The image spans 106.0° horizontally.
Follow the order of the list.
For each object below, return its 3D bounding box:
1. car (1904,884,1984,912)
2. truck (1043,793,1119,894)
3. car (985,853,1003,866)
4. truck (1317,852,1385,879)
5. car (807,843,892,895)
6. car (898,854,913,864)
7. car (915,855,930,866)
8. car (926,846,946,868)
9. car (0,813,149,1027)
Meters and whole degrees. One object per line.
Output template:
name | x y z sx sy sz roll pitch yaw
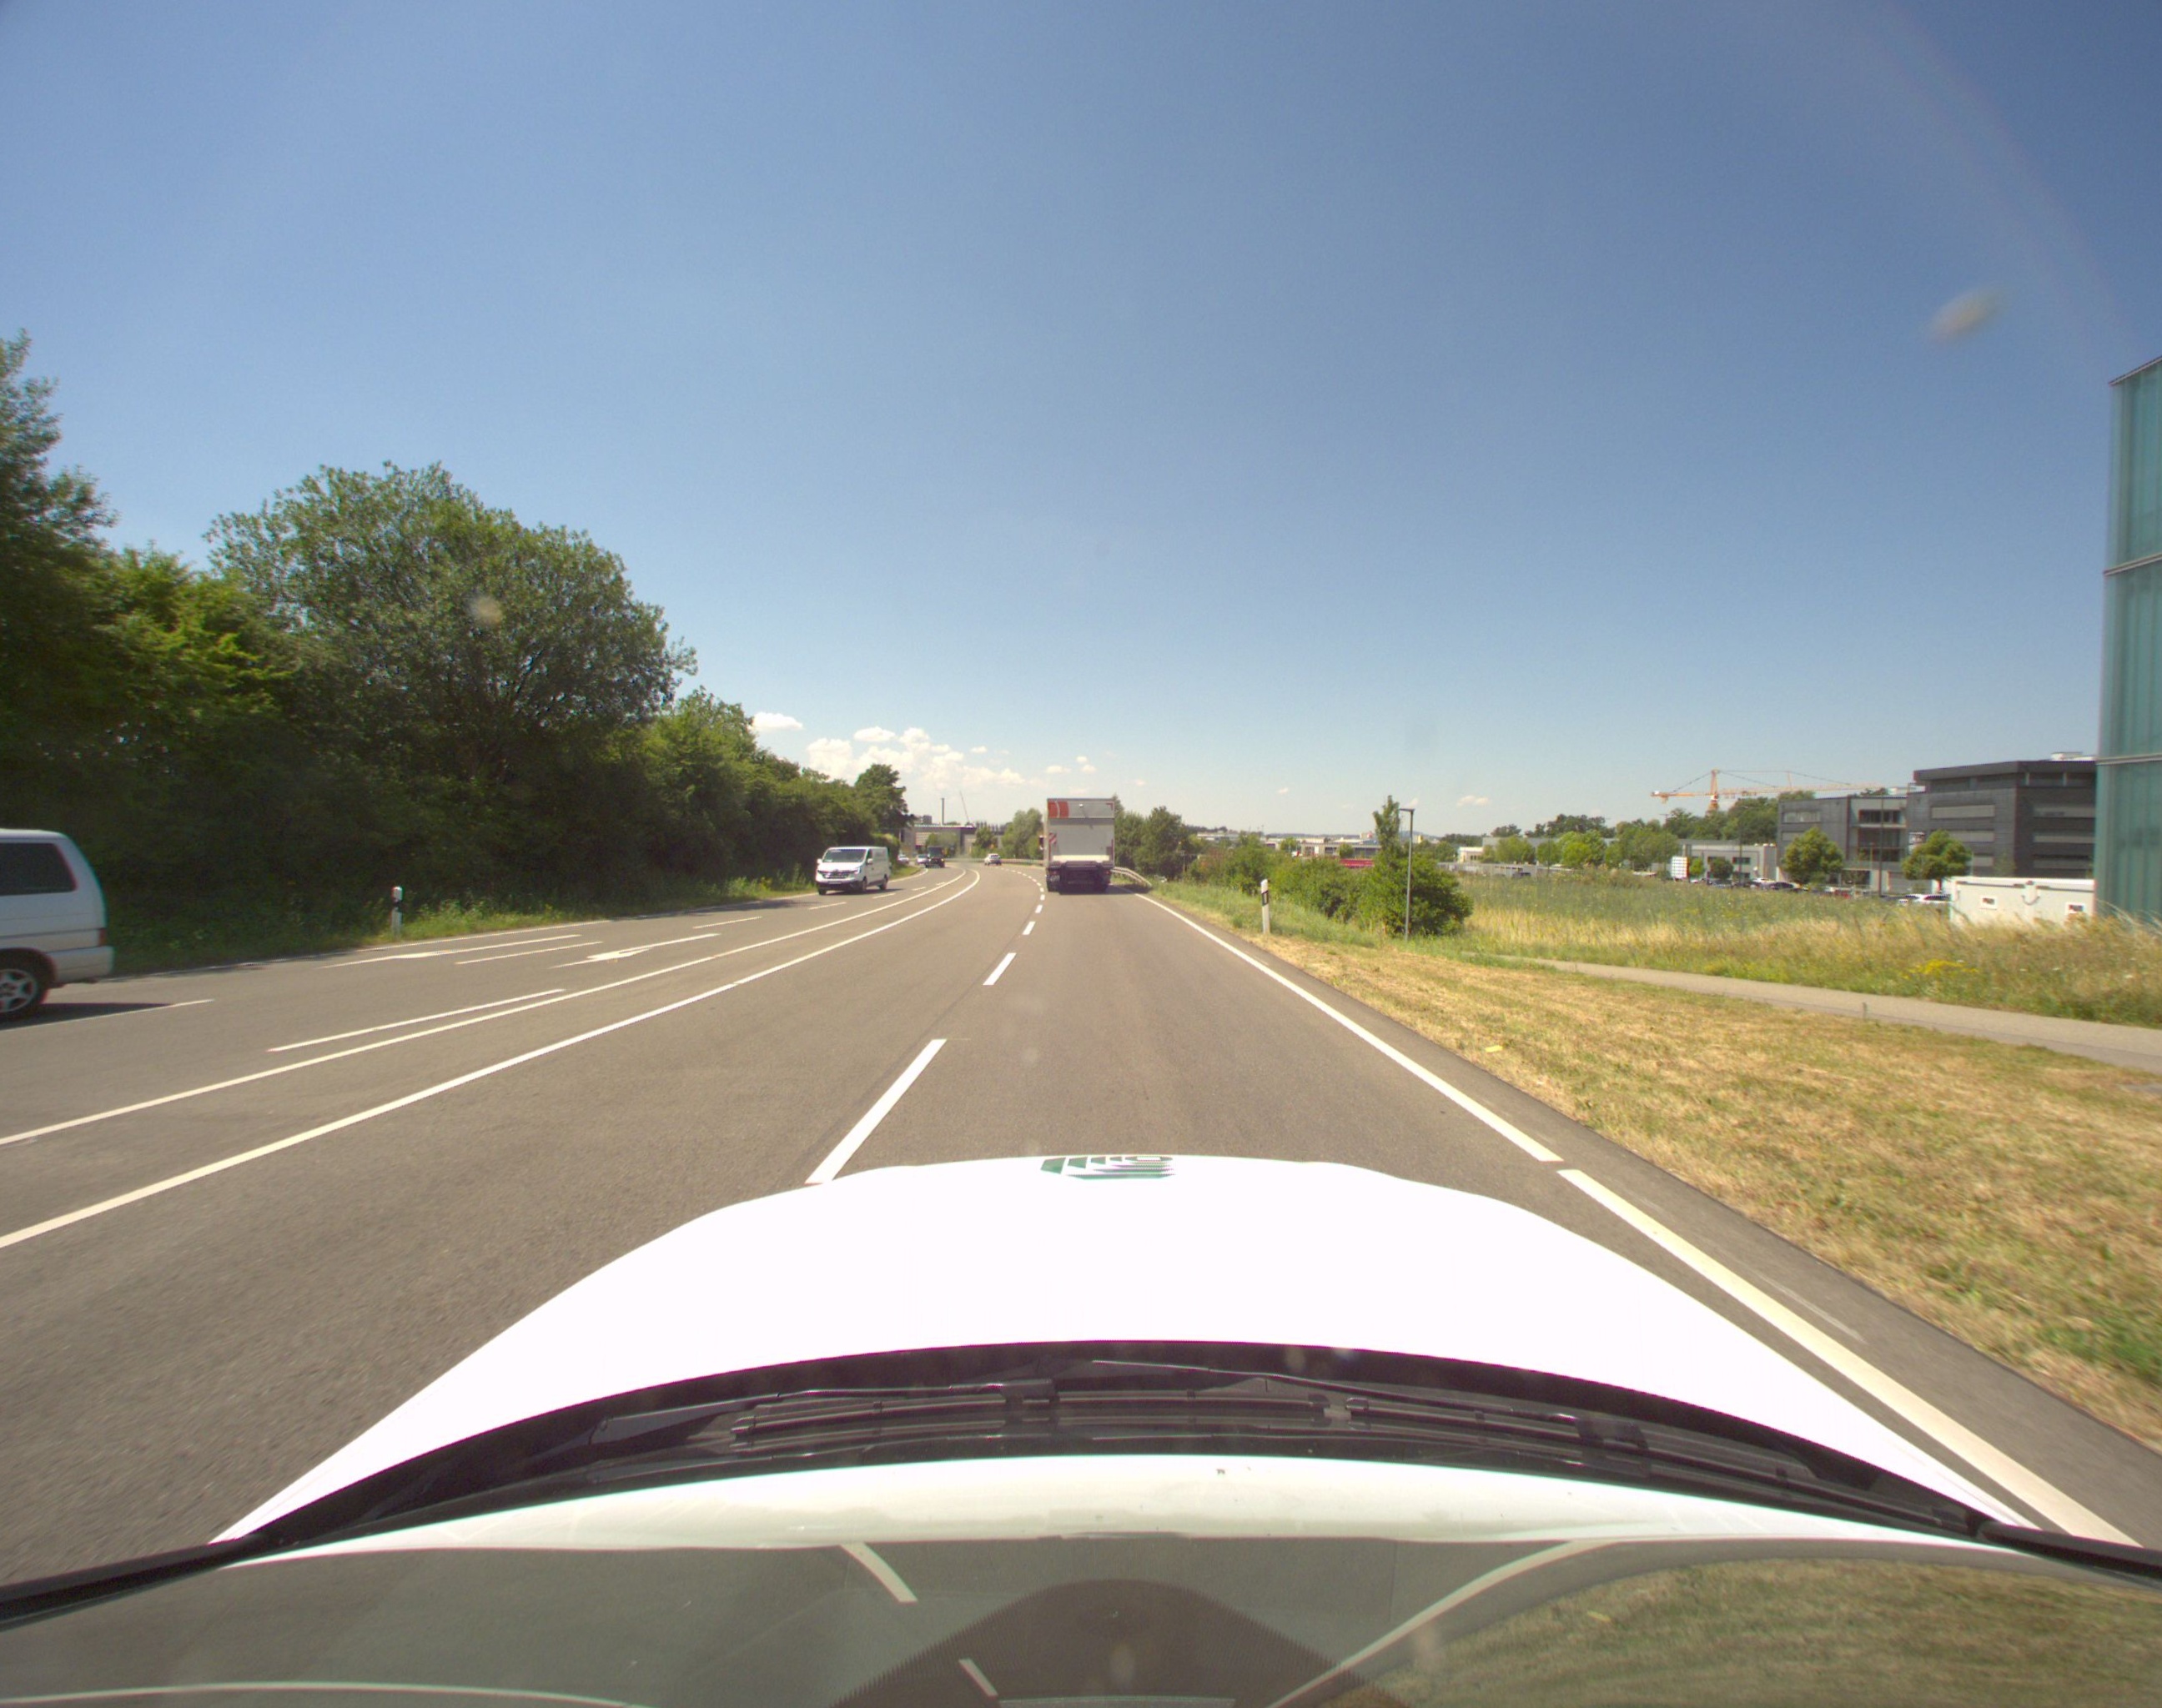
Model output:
car | 69.425 3.548 65.579 3.962 1.914 2.006 2 1 10
truck | -0.172 -0.433 34.771 2.796 3.710 9.100 0 0 -2
car | -11.381 0.703 105.827 1.944 1.664 3.984 2 -1 -11
truck | 40.849 1.674 123.326 9.300 3.683 3.150 3 2 30
car | -9.718 0.567 34.746 2.070 2.013 5.804 0 0 -1
car | -30.448 0.897 141.162 1.999 1.629 4.171 -1 0 -18
car | -24.686 0.959 126.573 1.841 1.593 4.790 1 0 -16
car | -17.091 0.386 96.092 2.188 2.541 6.016 0 0 -10
car | -11.538 0.649 6.638 1.962 2.013 4.853 2 2 9
